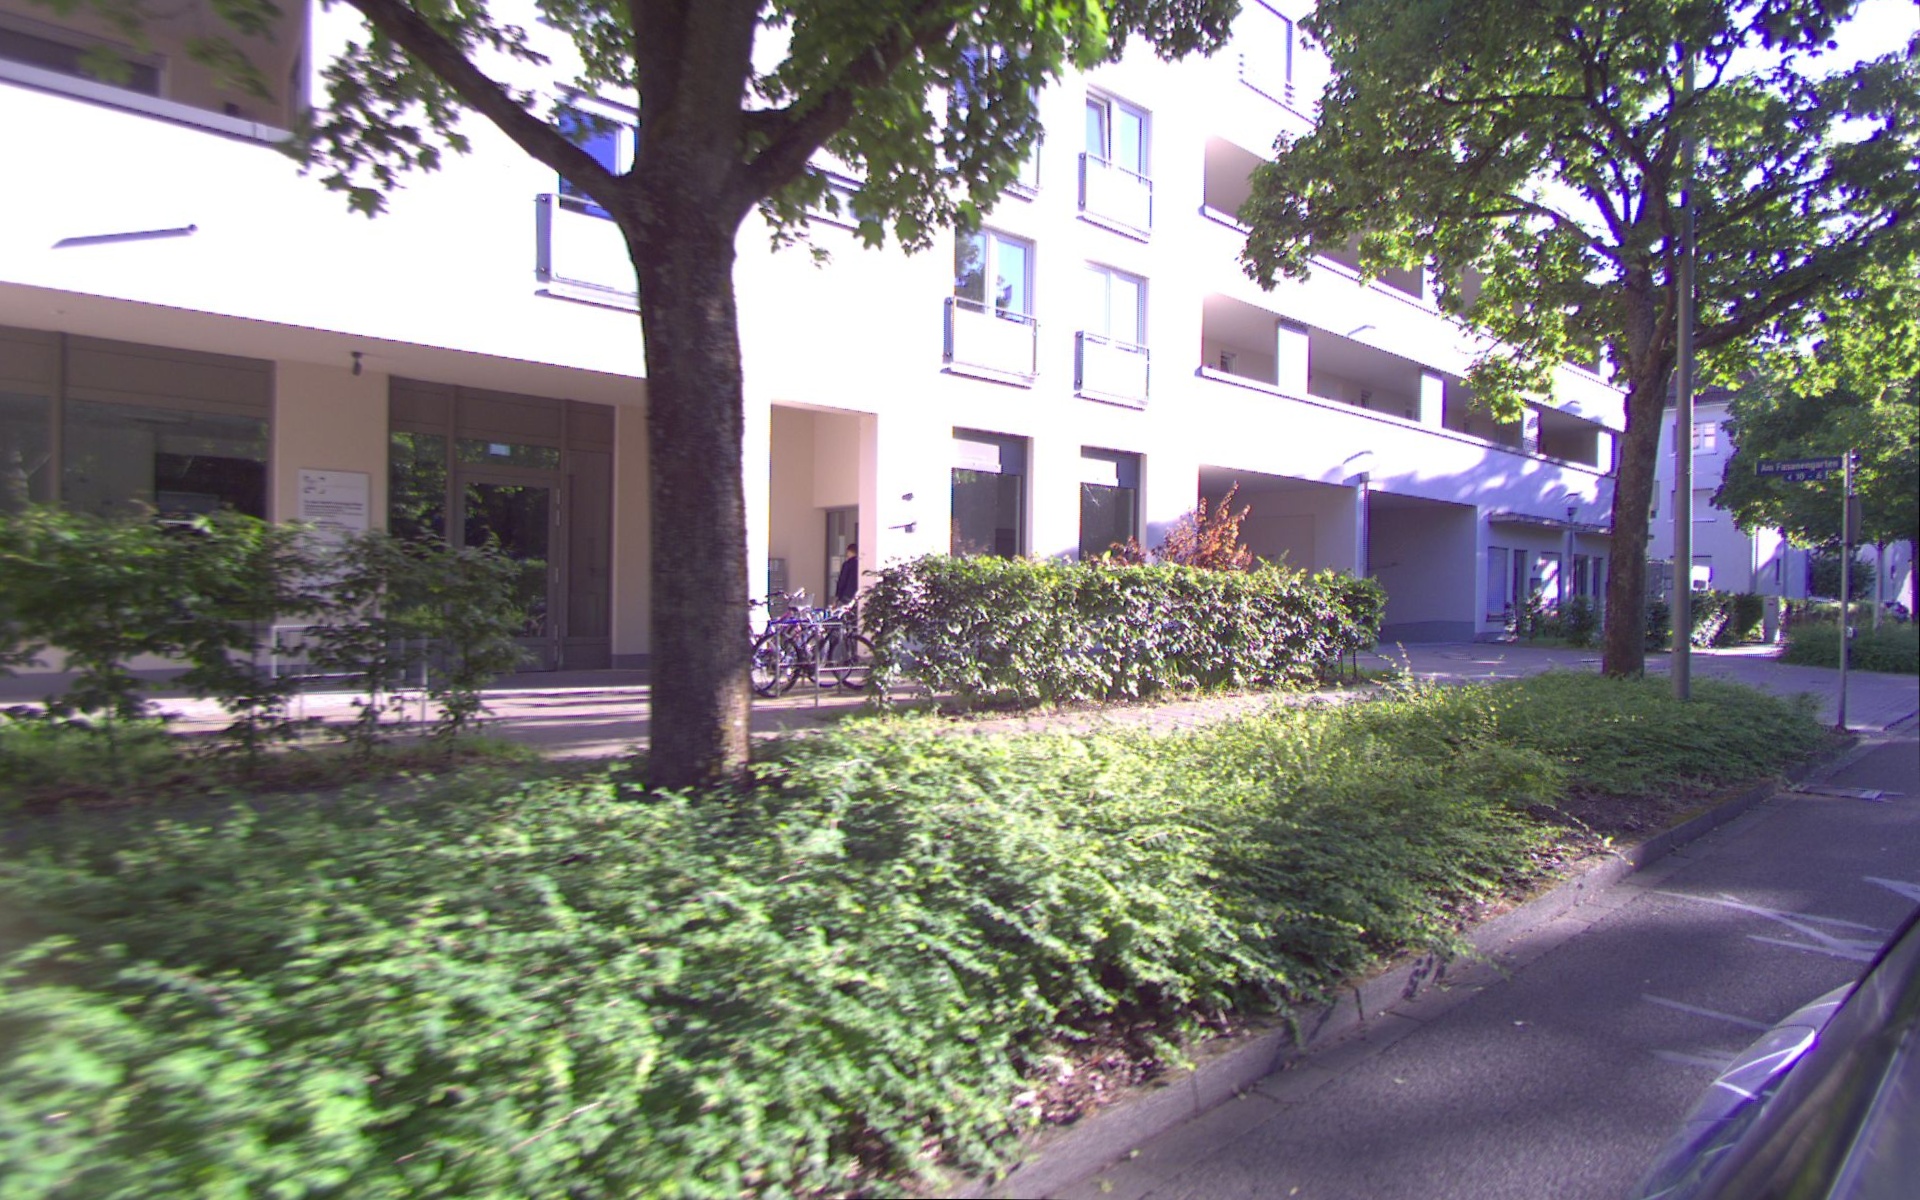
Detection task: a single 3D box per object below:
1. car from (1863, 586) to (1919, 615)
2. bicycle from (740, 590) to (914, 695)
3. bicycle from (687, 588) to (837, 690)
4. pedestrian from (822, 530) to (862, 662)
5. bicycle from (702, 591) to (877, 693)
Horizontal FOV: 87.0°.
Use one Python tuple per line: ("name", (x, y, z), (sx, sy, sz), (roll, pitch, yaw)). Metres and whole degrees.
("car", (51.153, 0.002, 55.406), (3.928, 1.559, 1.998), (0, 0, -39))
("bicycle", (-1.460, 0.435, 11.467), (2.075, 1.101, 0.419), (0, 0, -41))
("bicycle", (-2.305, 0.424, 11.936), (1.756, 1.125, 0.419), (0, 0, -41))
("pedestrian", (-1.730, -0.059, 14.839), (0.476, 1.897, 0.378), (0, 0, -29))
("bicycle", (-1.925, 0.443, 11.675), (2.075, 1.101, 0.419), (0, 0, -41))
